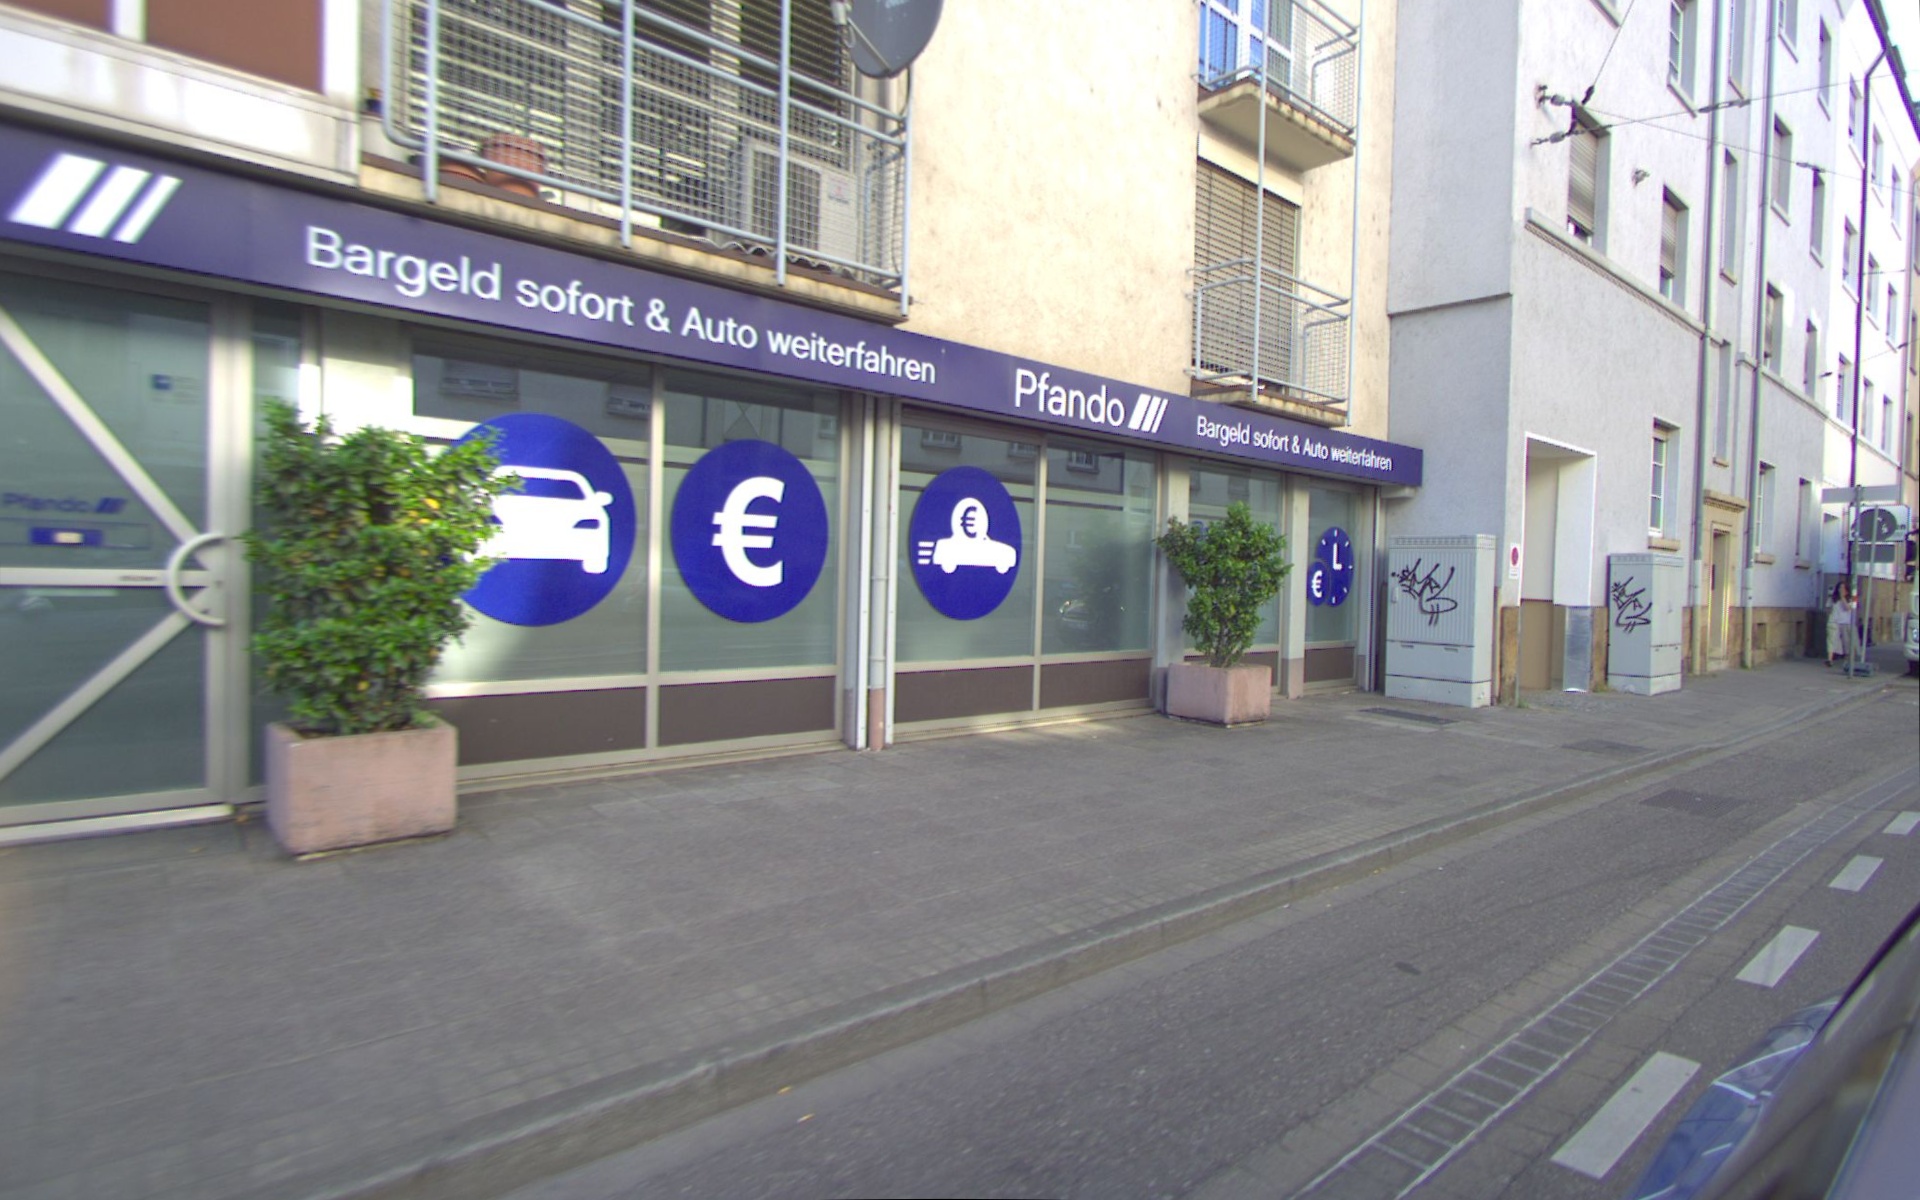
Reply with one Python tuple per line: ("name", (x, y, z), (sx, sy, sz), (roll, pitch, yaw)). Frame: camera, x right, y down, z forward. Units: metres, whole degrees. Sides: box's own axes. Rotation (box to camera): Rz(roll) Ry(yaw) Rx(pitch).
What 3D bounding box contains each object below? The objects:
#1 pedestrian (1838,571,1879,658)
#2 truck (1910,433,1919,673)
("pedestrian", (17.524, 0.268, 19.745), (0.459, 1.649, 0.475), (0, 2, -38))
("truck", (22.426, -0.895, 20.837), (11.568, 4.290, 2.699), (-1, 2, -40))
